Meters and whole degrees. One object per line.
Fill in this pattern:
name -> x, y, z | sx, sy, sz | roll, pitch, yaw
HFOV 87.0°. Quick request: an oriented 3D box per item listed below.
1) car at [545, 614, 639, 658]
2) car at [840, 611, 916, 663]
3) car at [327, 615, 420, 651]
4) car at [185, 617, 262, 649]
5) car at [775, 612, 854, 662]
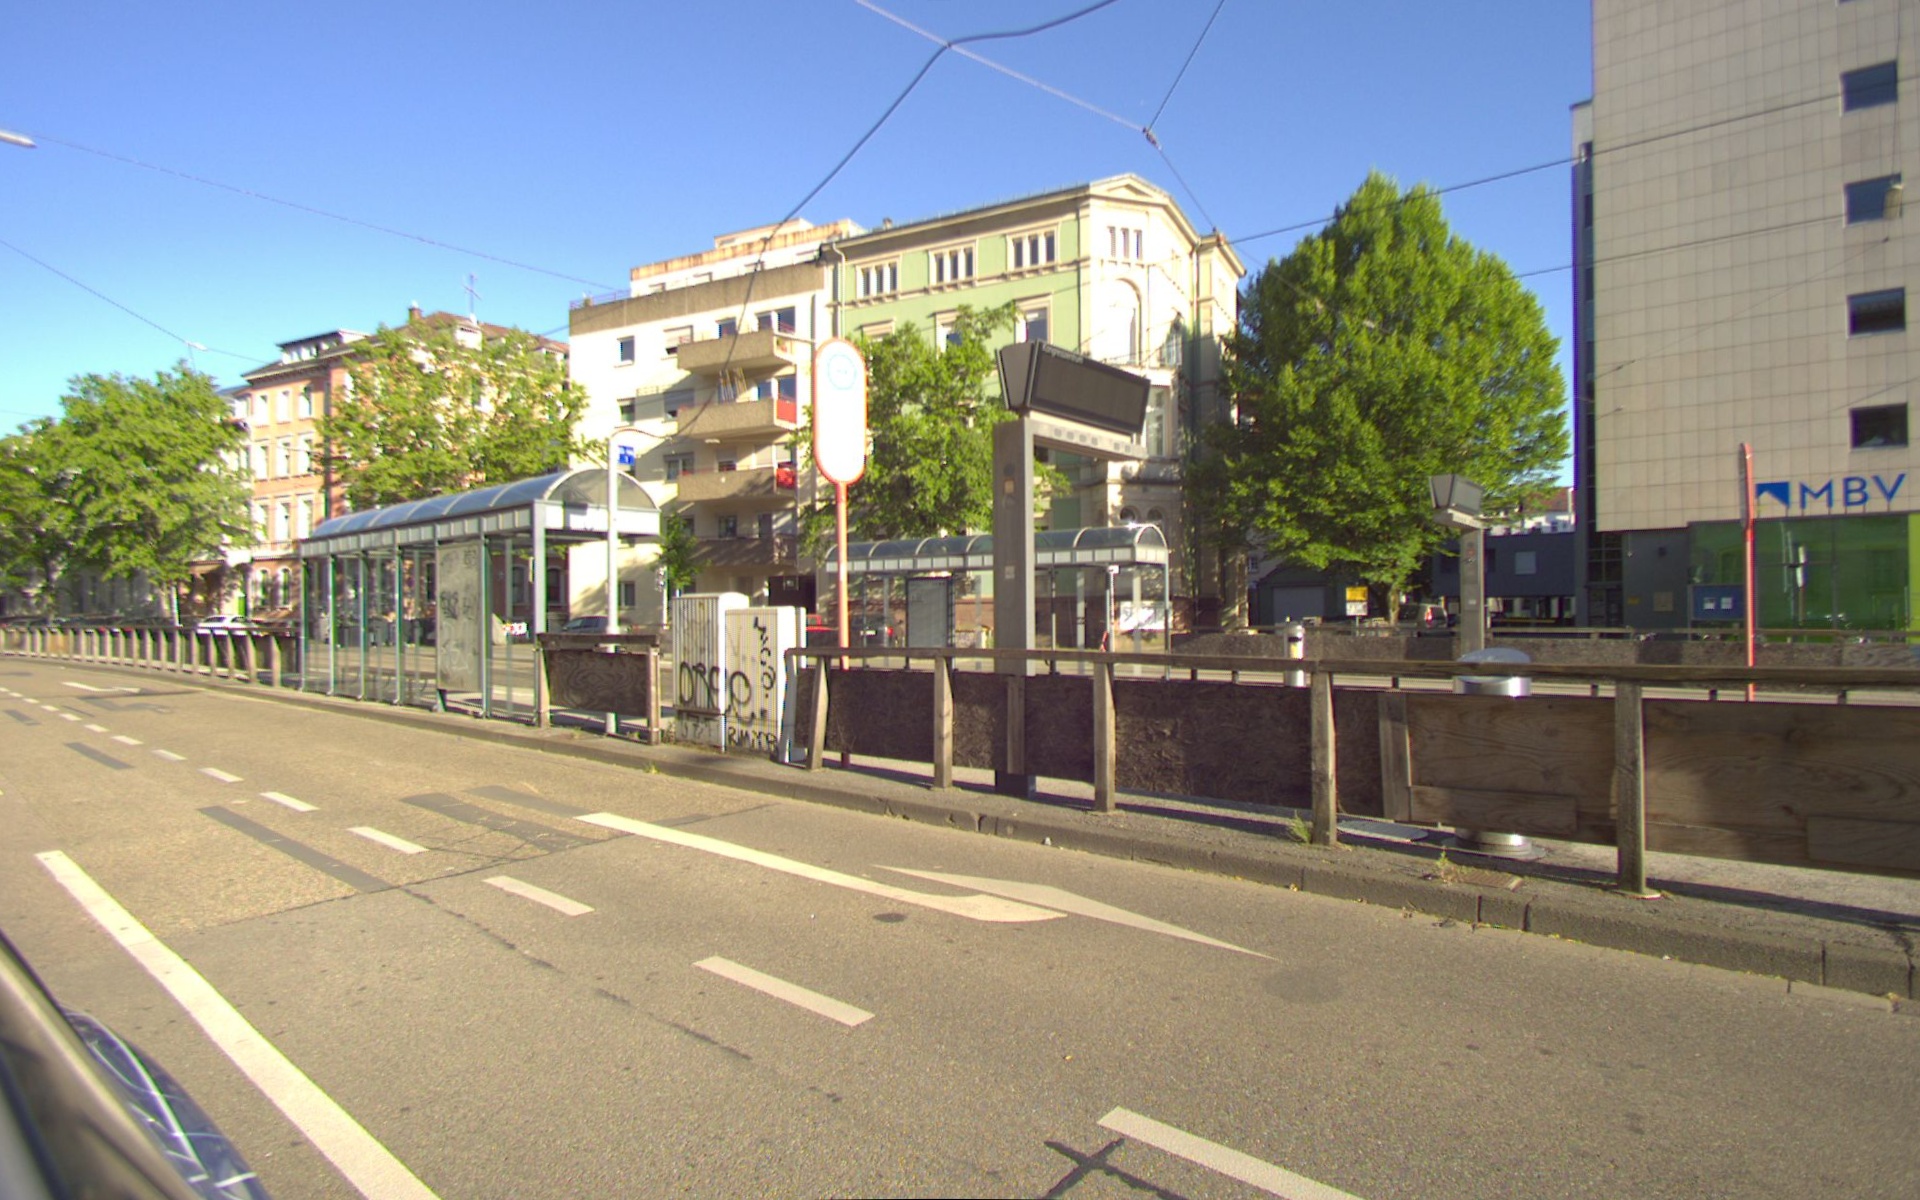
car -> -14.025, 1.334, 38.509 | 3.592, 1.579, 1.612 | -1, 0, 35
car -> -2.639, 1.186, 33.362 | 1.614, 1.579, 3.588 | -1, 0, 11
car -> -28.391, 1.561, 49.045 | 1.626, 1.579, 3.560 | -1, 0, 33
car -> -39.392, 1.741, 54.202 | 1.607, 1.579, 3.601 | -1, 0, -2
car -> -4.912, 1.216, 34.558 | 1.614, 1.579, 3.588 | -1, 0, 11
